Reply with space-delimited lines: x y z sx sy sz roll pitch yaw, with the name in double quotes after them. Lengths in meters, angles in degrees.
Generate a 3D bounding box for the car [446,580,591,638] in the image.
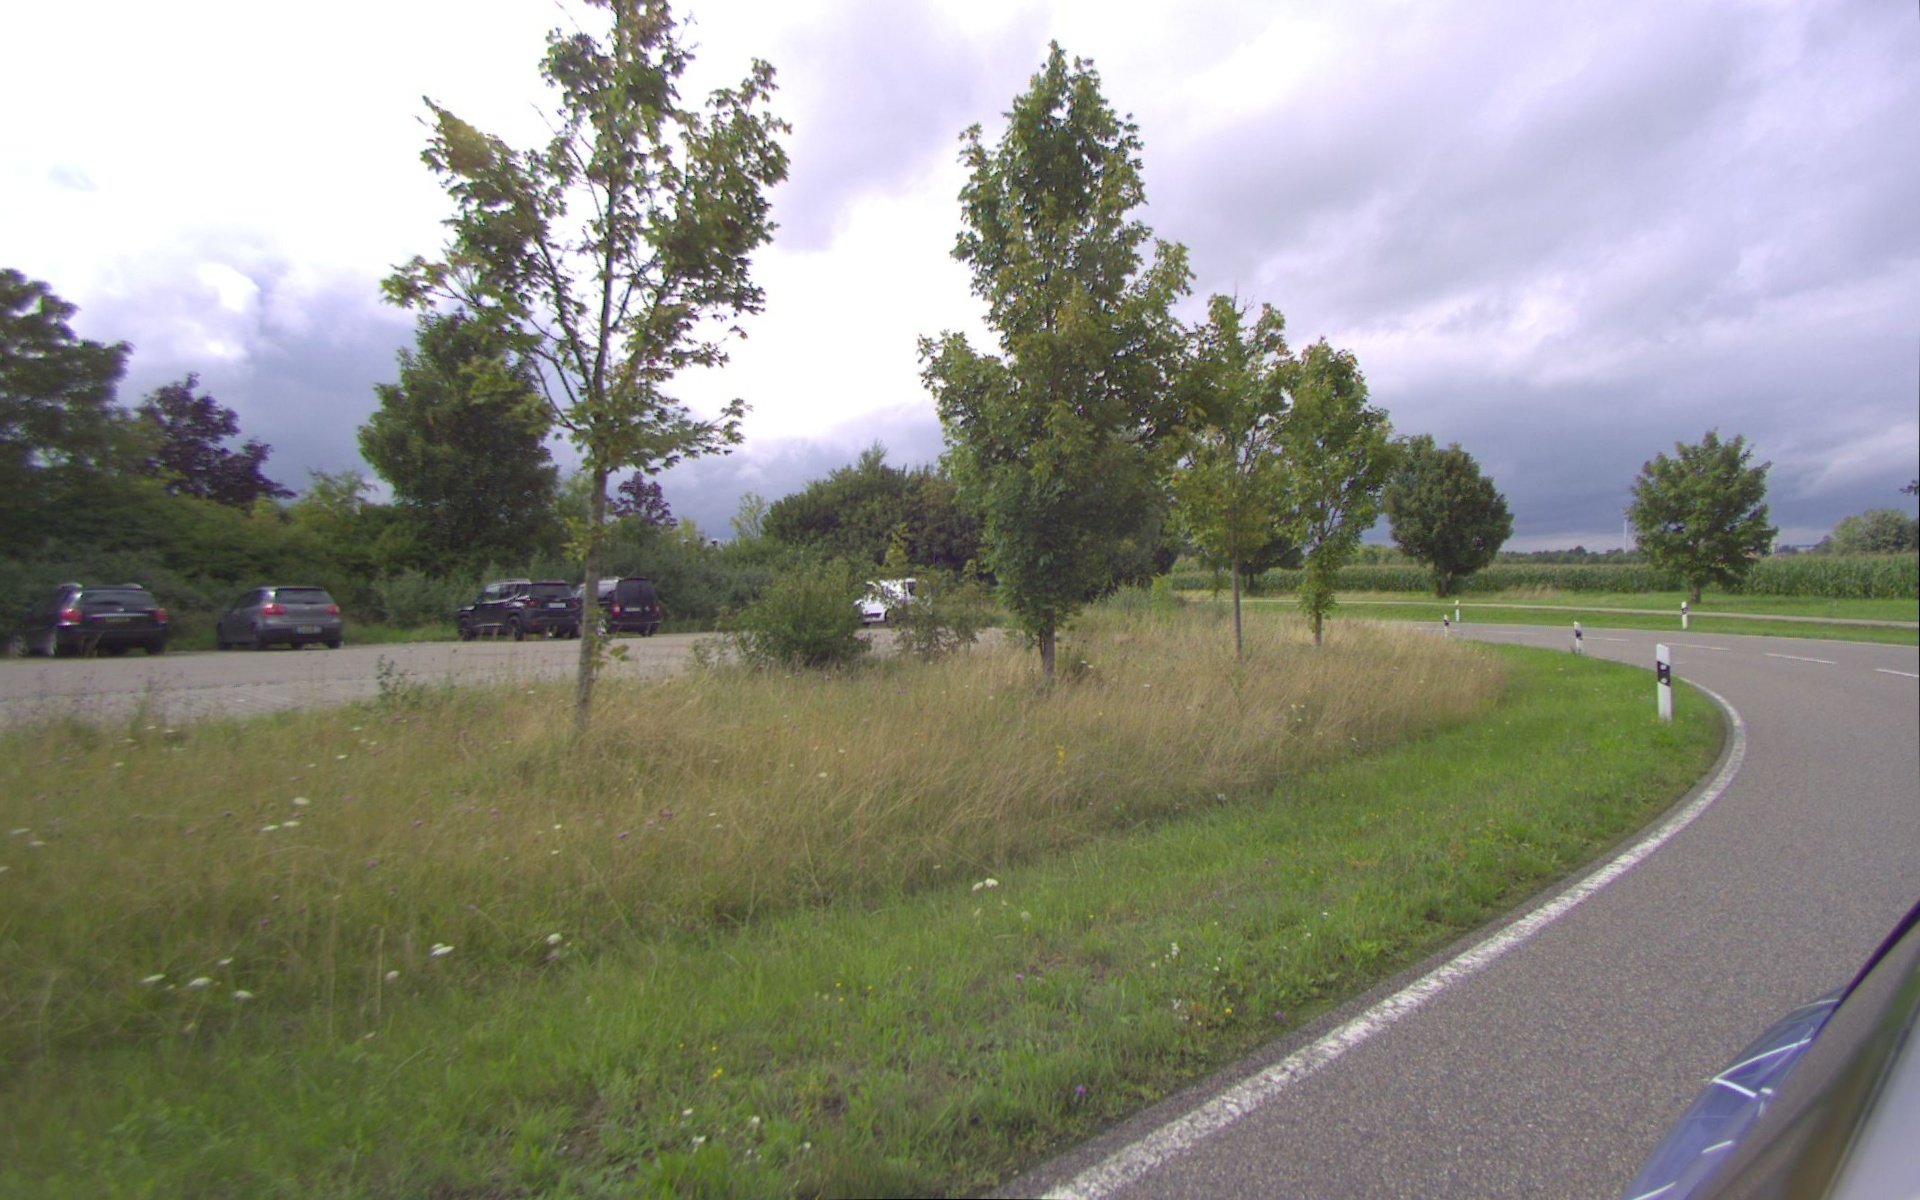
-12.456 0.197 28.491 3.974 1.515 1.975 1 2 35 "car"

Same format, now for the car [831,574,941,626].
-2.895 -0.042 39.222 3.980 1.883 1.972 1 2 39 "car"

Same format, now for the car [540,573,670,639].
-10.833 0.123 30.818 3.980 1.883 1.972 1 2 39 "car"

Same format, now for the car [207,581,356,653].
-16.087 0.329 23.937 3.994 1.524 2.021 1 2 42 "car"

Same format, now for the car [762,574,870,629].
-5.340 0.013 37.258 3.980 1.883 1.720 1 2 39 "car"

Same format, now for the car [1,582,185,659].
-18.118 0.349 21.115 4.139 1.431 1.975 1 2 35 "car"
